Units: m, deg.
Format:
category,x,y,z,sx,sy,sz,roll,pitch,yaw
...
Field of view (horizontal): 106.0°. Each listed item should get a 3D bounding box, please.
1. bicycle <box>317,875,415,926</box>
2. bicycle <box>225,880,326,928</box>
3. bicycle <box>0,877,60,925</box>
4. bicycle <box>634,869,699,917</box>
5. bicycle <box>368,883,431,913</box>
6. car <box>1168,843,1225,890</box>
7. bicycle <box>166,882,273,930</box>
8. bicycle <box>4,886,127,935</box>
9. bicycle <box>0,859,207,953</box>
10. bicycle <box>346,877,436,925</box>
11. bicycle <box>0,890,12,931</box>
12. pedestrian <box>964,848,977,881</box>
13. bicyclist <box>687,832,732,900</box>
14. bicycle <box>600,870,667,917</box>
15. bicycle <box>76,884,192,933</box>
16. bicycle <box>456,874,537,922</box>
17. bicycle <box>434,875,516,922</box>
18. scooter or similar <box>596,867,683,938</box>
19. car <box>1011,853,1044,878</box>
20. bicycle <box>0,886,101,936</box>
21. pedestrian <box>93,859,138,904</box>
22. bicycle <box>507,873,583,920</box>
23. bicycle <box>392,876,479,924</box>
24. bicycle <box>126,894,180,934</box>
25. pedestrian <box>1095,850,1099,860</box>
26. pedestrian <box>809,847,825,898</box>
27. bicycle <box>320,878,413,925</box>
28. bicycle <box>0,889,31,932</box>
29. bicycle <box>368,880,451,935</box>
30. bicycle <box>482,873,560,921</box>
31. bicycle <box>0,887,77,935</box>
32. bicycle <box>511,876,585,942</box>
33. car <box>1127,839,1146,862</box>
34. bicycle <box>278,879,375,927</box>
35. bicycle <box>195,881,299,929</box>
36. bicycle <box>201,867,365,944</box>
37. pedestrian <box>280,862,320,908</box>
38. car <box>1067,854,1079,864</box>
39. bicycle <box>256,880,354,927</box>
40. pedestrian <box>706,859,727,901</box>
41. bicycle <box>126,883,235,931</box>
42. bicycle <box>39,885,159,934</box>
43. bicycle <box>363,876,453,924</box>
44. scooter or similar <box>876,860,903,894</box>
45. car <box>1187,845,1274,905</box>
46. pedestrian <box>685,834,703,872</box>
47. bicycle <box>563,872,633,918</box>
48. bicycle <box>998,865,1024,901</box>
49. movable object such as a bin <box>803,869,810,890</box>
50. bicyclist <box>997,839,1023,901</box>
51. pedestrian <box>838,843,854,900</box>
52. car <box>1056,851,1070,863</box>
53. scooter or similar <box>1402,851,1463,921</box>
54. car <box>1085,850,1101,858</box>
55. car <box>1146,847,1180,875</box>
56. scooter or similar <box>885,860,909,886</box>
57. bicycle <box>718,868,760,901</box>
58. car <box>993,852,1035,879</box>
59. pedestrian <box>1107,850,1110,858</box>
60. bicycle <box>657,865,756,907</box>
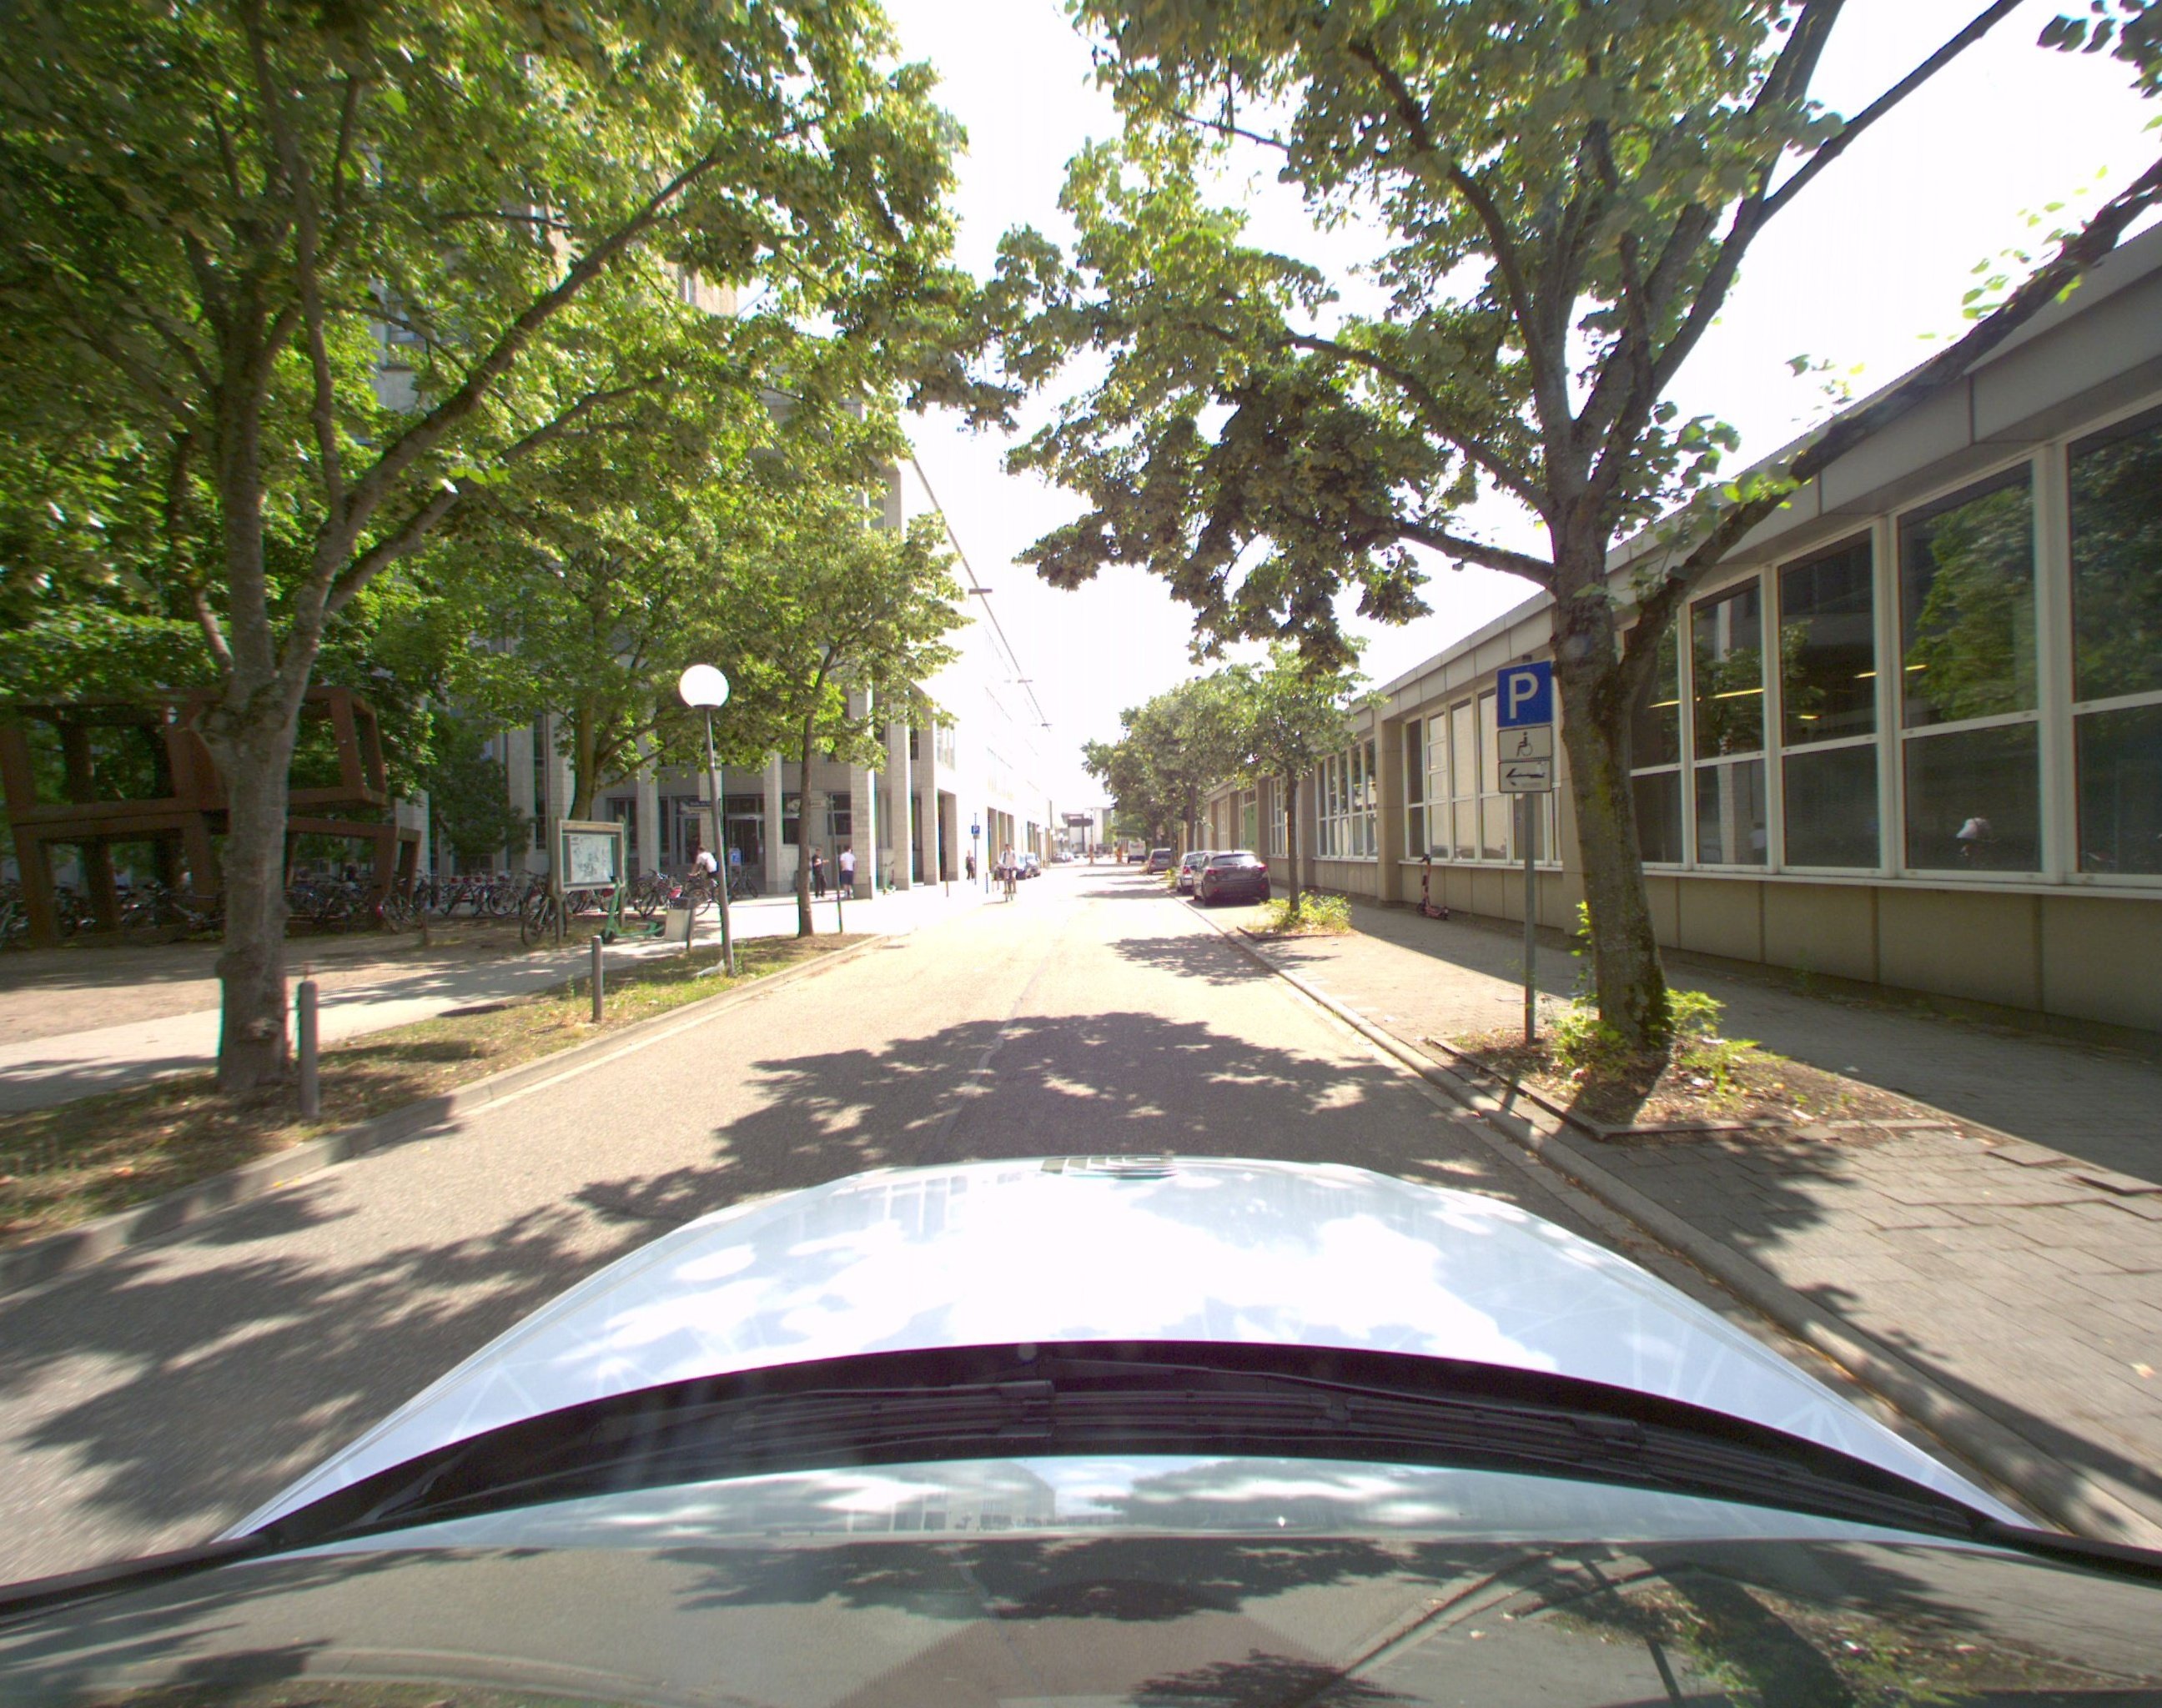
category,x,y,z,sx,sy,sz,roll,pitch,yaw
bicycle,-15.814,1.001,18.078,0.473,1.032,1.851,-1,0,3
bicycle,-20.446,1.251,20.739,0.550,1.086,1.974,0,0,2
bicycle,-27.331,1.211,20.489,0.548,1.121,2.093,0,2,2
bicycle,-10.364,0.944,20.430,0.550,1.086,1.974,0,0,2
bicycle,-24.270,1.548,29.052,0.523,0.946,1.994,-1,0,1
car,4.041,0.417,28.863,1.610,1.538,3.782,-1,0,2
bicycle,-21.925,1.296,20.787,0.550,1.086,1.974,0,0,2
bicycle,-25.344,1.384,20.379,0.550,1.086,1.974,0,0,2
bicycle,-16.518,0.832,13.750,2.298,1.450,0.601,-1,0,-31
bicycle,-17.493,1.162,20.704,0.550,1.086,1.974,0,0,2
bicycle,-28.898,1.501,20.800,0.550,1.086,1.974,0,0,2
pedestrian,-5.817,0.546,42.834,0.649,1.701,0.887,-1,0,-9
bicyclist,-11.246,0.371,24.660,0.841,2.013,0.879,-1,0,13
bicycle,-11.304,0.978,20.646,0.550,1.086,1.974,0,0,2
bicycle,-23.823,1.344,20.549,0.550,1.086,1.974,0,0,2
bicycle,-14.730,1.078,20.591,0.550,1.086,1.974,0,0,2
bicycle,-15.375,1.101,20.733,0.550,1.086,1.974,0,0,2
scooter or similar,-7.867,0.835,14.553,0.335,1.175,1.337,-1,0,37
car,-3.375,0.719,52.265,1.624,1.485,4.180,-1,0,2
bicycle,-25.977,1.394,20.347,0.550,1.086,1.974,0,0,2
pedestrian,-34.061,0.957,28.730,0.702,1.540,0.717,-1,0,-9
bicycle,-13.558,1.045,20.657,0.550,1.086,1.974,0,0,2
bicycle,-16.224,1.120,20.530,0.550,1.086,1.974,0,0,2
bicycle,-20.295,1.295,17.829,0.324,0.763,1.545,0,0,-31
pedestrian,2.716,0.124,138.442,0.774,1.678,0.505,0,0,2
pedestrian,-9.306,0.632,28.686,0.443,1.775,0.447,-1,0,-29
bicycle,-18.103,1.180,20.692,0.550,1.086,1.974,0,0,2
bicycle,-28.232,1.478,20.668,0.550,1.086,1.974,0,0,2
bicycle,-13.191,1.030,16.043,0.475,0.965,1.651,-1,0,-9
bicycle,-14.124,1.060,20.605,0.550,1.086,1.974,0,0,2
bicycle,-26.678,1.424,20.404,0.550,1.086,1.974,0,0,2
bicycle,-9.198,0.913,14.121,0.381,1.025,1.809,-1,0,-10
car,6.482,-0.411,95.246,2.076,2.539,4.317,0,0,2
bicycle,-19.037,1.205,20.620,0.550,1.086,1.974,0,0,2
bicycle,-21.170,1.272,20.729,0.550,1.086,1.974,0,0,2
bicycle,-14.547,0.906,14.925,2.027,1.254,0.582,-2,0,-31
pedestrian,-27.736,1.077,28.927,0.824,1.593,0.598,-1,0,3
car,-1.273,0.779,124.150,1.640,1.498,3.730,-2,-2,2
bicycle,-19.810,1.235,20.859,0.550,1.086,1.974,0,0,2
pedestrian,-12.543,0.898,28.012,0.465,1.383,0.443,-2,3,-8
bicycle,-23.226,1.342,21.061,0.550,1.086,1.974,0,0,2
bicycle,-24.499,1.359,20.377,0.550,1.086,1.974,0,0,2
bicycle,-16.923,1.141,20.534,0.550,1.086,1.974,0,0,2
scooter or similar,-7.194,0.859,30.642,0.452,1.223,1.551,-1,0,6
car,4.169,0.547,23.390,1.774,1.476,4.464,-3,0,2
pedestrian,-16.856,-0.042,35.470,0.637,1.661,0.688,-1,0,-29
bicycle,-12.401,1.020,20.969,0.550,1.086,1.974,0,0,2
bicycle,-2.354,0.954,27.576,0.683,1.129,1.888,-2,0,0
movable object such as a bin,-12.046,1.130,35.733,0.168,0.895,0.448,-1,0,-3
bicyclist,-2.374,0.515,27.418,0.709,2.013,1.018,-3,0,0
pedestrian,-8.095,0.597,28.030,0.415,1.942,0.657,0,0,-27
car,-2.484,0.462,112.362,1.640,1.498,3.730,-2,-2,2
scooter or similar,6.666,0.571,15.512,0.509,1.249,1.486,-3,0,2
car,2.591,-0.076,179.255,3.482,1.697,1.438,0,0,1
car,5.118,0.410,51.135,1.851,1.574,4.003,-3,0,2
scooter or similar,-8.623,0.886,38.147,0.529,1.210,1.541,-1,0,-35
bicycle,-11.836,1.028,28.248,0.462,1.014,1.868,0,2,6
car,-3.801,0.651,46.909,1.759,1.427,4.238,-1,0,4
pedestrian,5.235,0.035,154.514,0.604,1.619,0.682,0,0,1
bicycle,-11.325,0.959,24.671,2.721,1.199,0.888,-1,0,13
